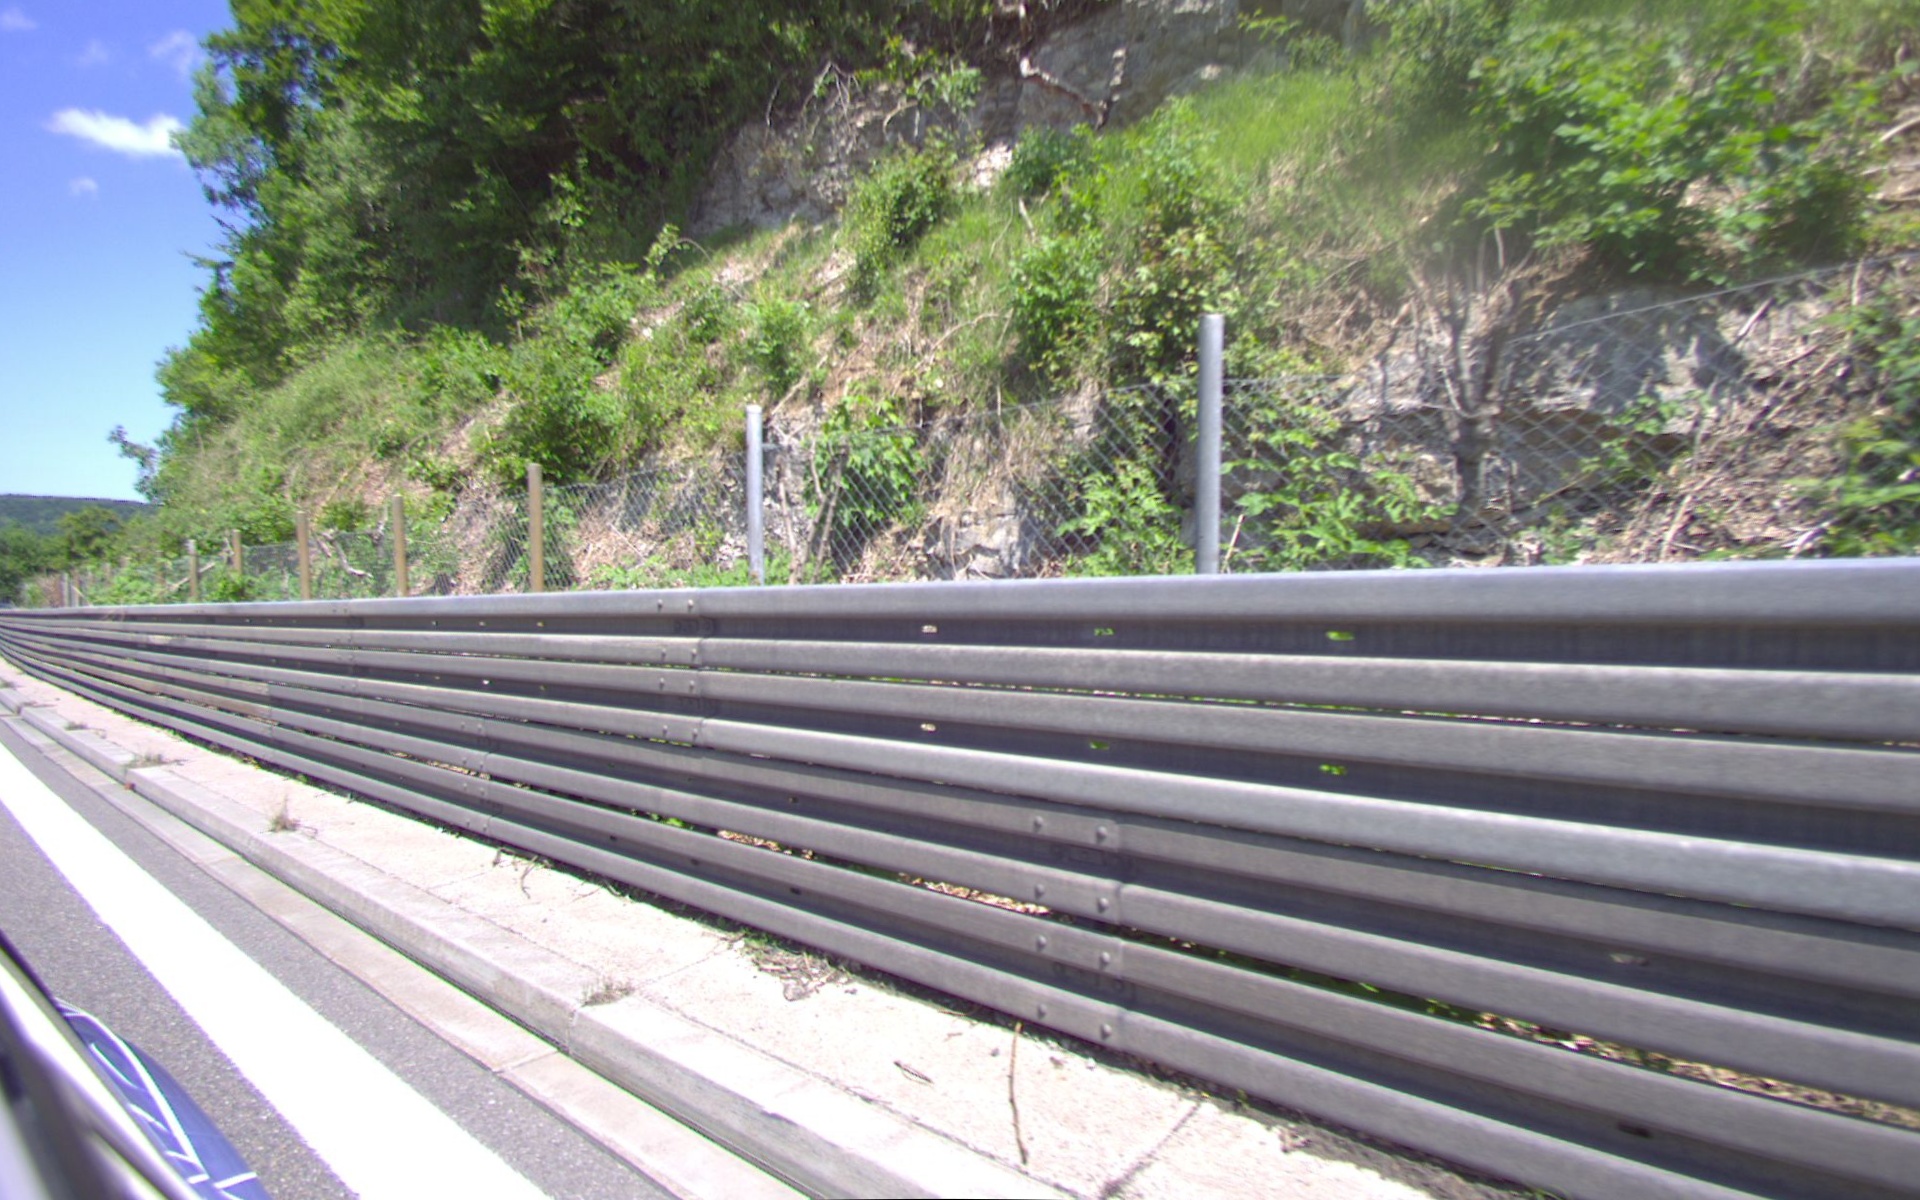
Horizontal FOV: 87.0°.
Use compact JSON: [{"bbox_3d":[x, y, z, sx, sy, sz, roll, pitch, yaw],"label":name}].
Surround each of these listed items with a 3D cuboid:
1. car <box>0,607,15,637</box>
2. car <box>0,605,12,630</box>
[{"bbox_3d":[-67.094,1.525,70.335,1.969,2.029,4.005,-1,0,-42],"label":"car"},{"bbox_3d":[-79.234,1.455,82.660,1.966,2.029,4.011,0,0,-33],"label":"car"}]
